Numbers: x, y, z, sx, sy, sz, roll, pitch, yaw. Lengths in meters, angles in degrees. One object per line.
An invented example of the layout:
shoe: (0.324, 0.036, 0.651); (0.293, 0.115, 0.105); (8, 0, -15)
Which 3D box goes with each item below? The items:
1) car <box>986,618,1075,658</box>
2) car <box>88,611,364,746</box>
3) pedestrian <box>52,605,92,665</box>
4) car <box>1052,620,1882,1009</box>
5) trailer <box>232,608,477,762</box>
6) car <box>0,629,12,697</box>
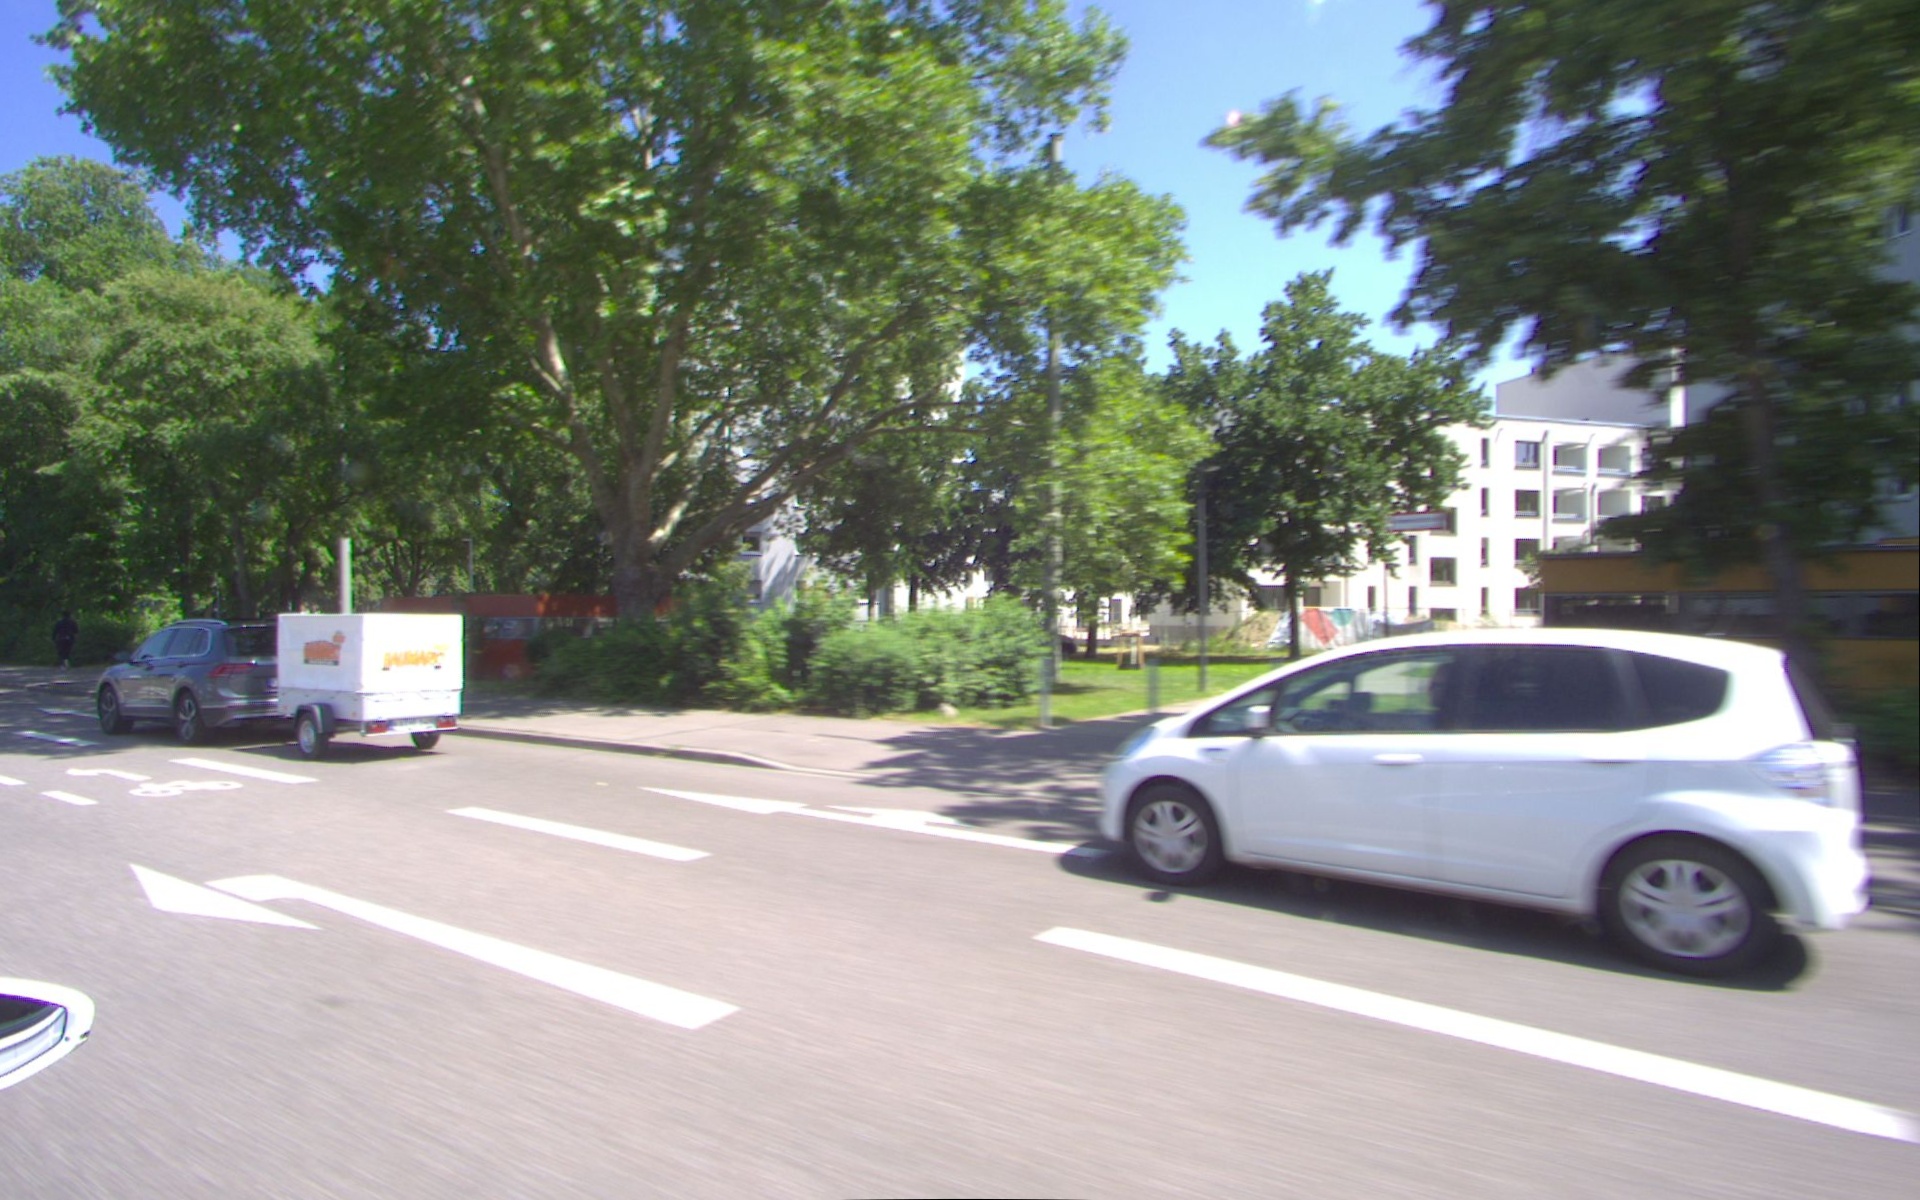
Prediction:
car: (3.197, 1.717, 45.429); (3.680, 1.722, 1.740); (1, -2, -13)
car: (-10.567, 1.026, 14.337); (4.335, 1.675, 1.697); (0, -2, 32)
pedestrian: (-27.812, 1.087, 31.367); (0.683, 1.840, 0.751); (0, 1, 32)
car: (2.610, 0.897, 5.783); (3.829, 1.507, 1.715); (-1, -2, 38)
trailer: (-7.520, 0.973, 12.411); (2.815, 1.690, 1.467); (0, -2, 32)
car: (-22.138, 1.293, 21.449); (4.206, 1.414, 1.652); (0, -2, 32)
